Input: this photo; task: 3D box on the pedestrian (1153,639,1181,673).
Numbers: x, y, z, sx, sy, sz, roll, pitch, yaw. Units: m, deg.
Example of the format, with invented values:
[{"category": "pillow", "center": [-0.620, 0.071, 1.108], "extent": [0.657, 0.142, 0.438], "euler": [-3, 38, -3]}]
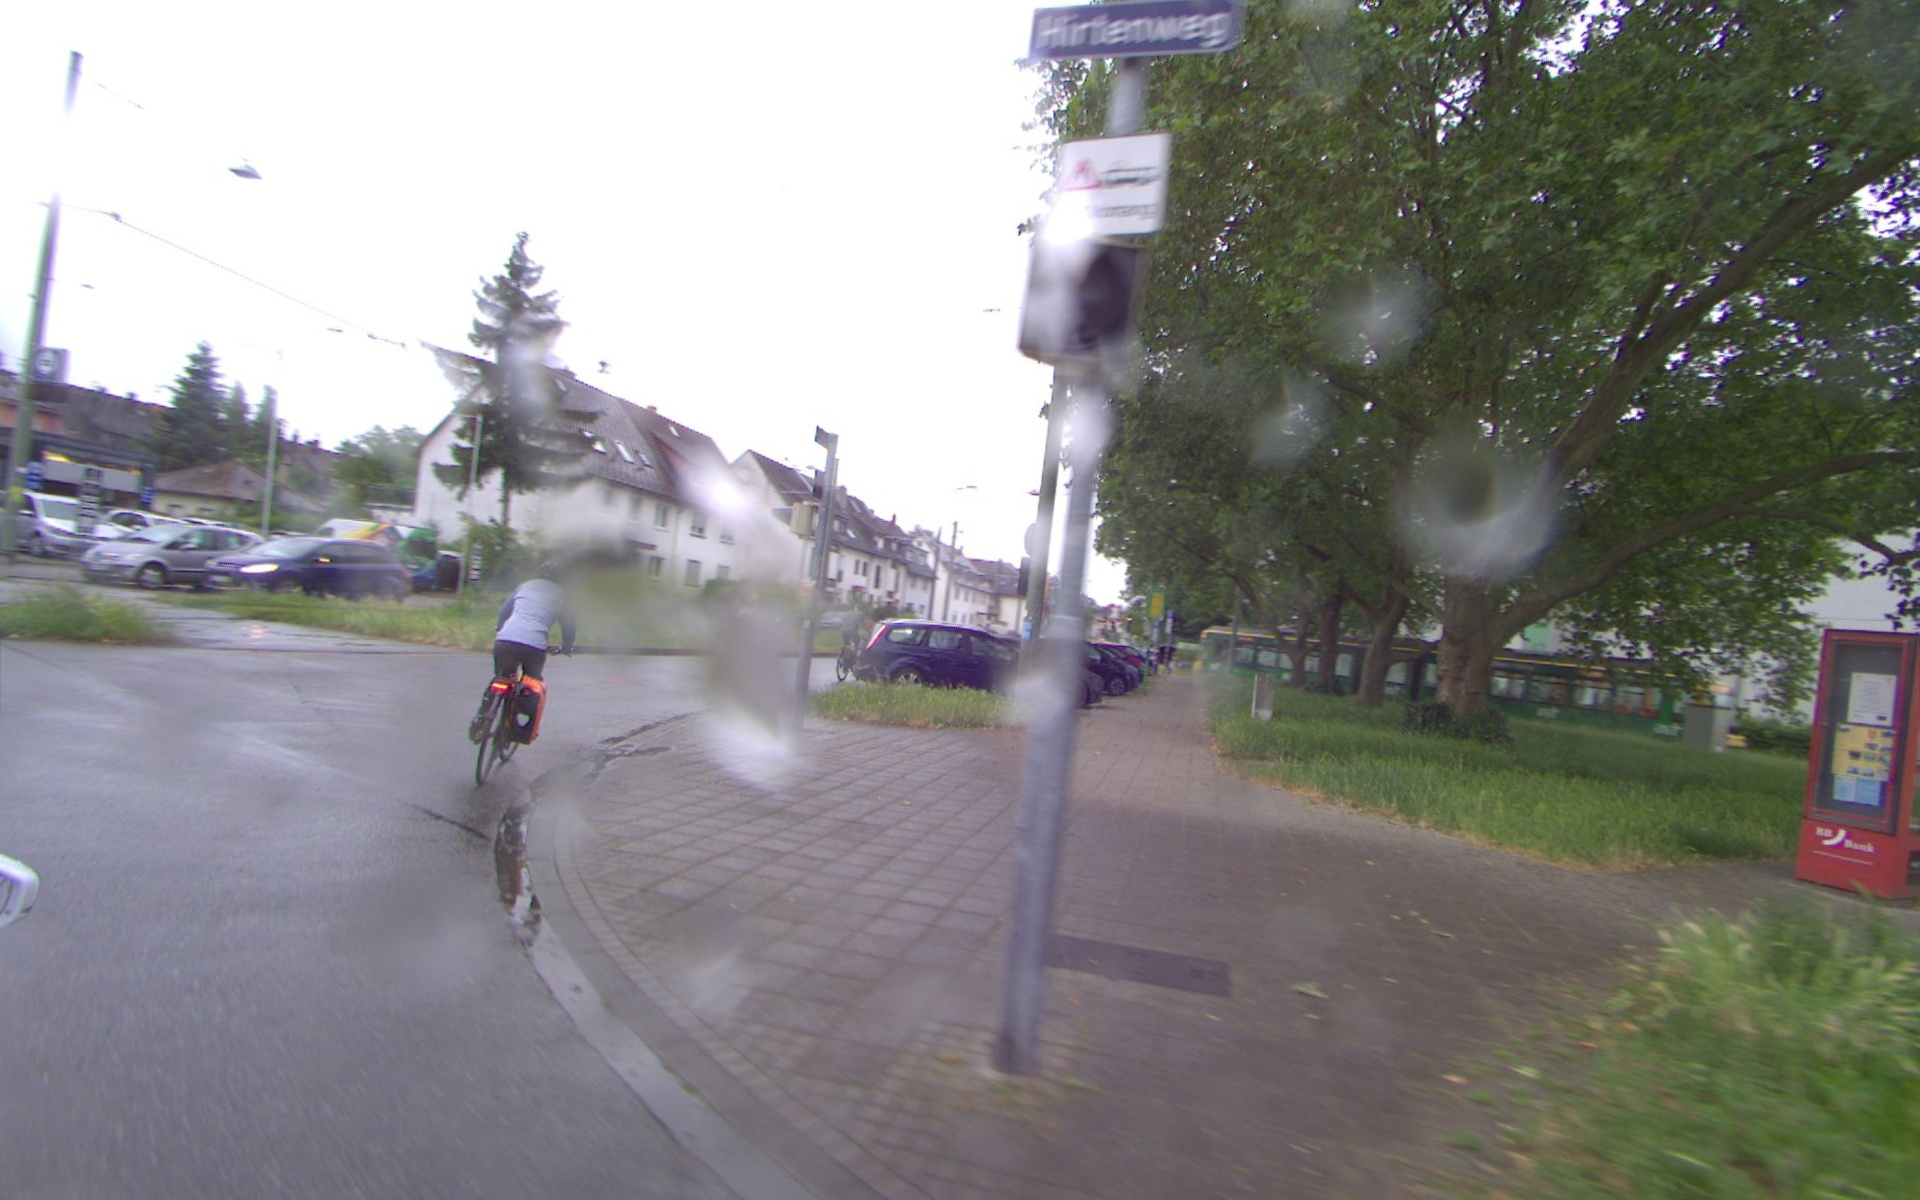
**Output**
[{"category": "pedestrian", "center": [11.425, 3.104, 55.653], "extent": [1.030, 1.735, 1.078], "euler": [6, -1, -11]}]

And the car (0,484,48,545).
[{"category": "car", "center": [-30.339, -2.801, 29.819], "extent": [1.962, 1.707, 4.450], "euler": [6, -1, 16]}]

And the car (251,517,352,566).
[{"category": "car", "center": [-28.543, -2.488, 43.790], "extent": [1.833, 1.599, 4.396], "euler": [6, -1, -7]}]

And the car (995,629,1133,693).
[{"category": "car", "center": [2.985, 1.753, 29.007], "extent": [3.468, 1.523, 1.747], "euler": [6, -2, -22]}]

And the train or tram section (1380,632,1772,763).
[{"category": "train or tram section", "center": [25.415, 3.818, 43.286], "extent": [2.686, 3.630, 14.629], "euler": [9, -2, -29]}]

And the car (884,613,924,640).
[{"category": "car", "center": [-3.893, 1.891, 70.778], "extent": [1.575, 1.439, 3.827], "euler": [7, -3, 15]}]

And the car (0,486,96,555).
[{"category": "car", "center": [-28.139, -2.457, 29.085], "extent": [1.727, 1.707, 4.450], "euler": [6, -1, 16]}]

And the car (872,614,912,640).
[{"category": "car", "center": [-5.239, 2.140, 78.105], "extent": [1.847, 1.519, 4.141], "euler": [7, -3, 14]}]

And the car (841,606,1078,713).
[{"category": "car", "center": [-0.044, 1.140, 19.453], "extent": [4.114, 1.494, 1.798], "euler": [7, -1, -16]}]

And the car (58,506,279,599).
[{"category": "car", "center": [-18.403, -1.044, 23.617], "extent": [1.690, 1.520, 3.650], "euler": [7, -3, 16]}]

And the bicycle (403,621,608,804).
[{"category": "bicycle", "center": [-3.332, 0.767, 7.597], "extent": [0.742, 1.086, 1.925], "euler": [6, 0, -6]}]

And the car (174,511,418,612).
[{"category": "car", "center": [-15.399, -0.809, 23.712], "extent": [1.962, 1.623, 4.582], "euler": [7, -3, 12]}]

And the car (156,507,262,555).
[{"category": "car", "center": [-33.638, -3.067, 45.230], "extent": [1.763, 1.599, 4.443], "euler": [6, -1, -7]}]

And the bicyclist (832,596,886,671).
[{"category": "bicyclist", "center": [-2.288, 0.777, 22.854], "extent": [0.817, 1.576, 0.915], "euler": [6, -1, 11]}]

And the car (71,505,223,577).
[{"category": "car", "center": [-24.415, -1.757, 30.251], "extent": [3.549, 1.590, 1.726], "euler": [7, -3, 17]}]

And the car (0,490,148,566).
[{"category": "car", "center": [-24.288, -1.970, 27.071], "extent": [3.798, 1.598, 1.808], "euler": [7, 0, 15]}]

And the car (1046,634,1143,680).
[{"category": "car", "center": [5.506, 2.334, 41.371], "extent": [3.539, 1.498, 1.634], "euler": [6, -1, -12]}]

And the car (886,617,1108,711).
[{"category": "car", "center": [0.797, 1.414, 22.392], "extent": [4.479, 1.494, 1.799], "euler": [7, -1, -15]}]

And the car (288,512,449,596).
[{"category": "car", "center": [-22.815, -1.761, 38.871], "extent": [5.051, 2.432, 2.156], "euler": [7, -3, 14]}]

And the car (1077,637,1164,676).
[{"category": "car", "center": [8.410, 2.951, 52.873], "extent": [3.940, 1.502, 1.992], "euler": [7, 0, -18]}]

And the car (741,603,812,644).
[{"category": "car", "center": [-8.882, 1.170, 49.054], "extent": [1.709, 1.502, 4.007], "euler": [7, -3, 15]}]

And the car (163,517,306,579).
[{"category": "car", "center": [-23.553, -1.680, 32.681], "extent": [3.769, 1.411, 1.726], "euler": [7, -3, 17]}]

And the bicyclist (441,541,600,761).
[{"category": "bicyclist", "center": [-3.295, 0.370, 7.624], "extent": [0.740, 1.504, 0.845], "euler": [6, 1, -6]}]

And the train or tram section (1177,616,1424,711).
[{"category": "train or tram section", "center": [18.292, 3.260, 56.044], "extent": [2.686, 3.630, 14.629], "euler": [9, -2, -29]}]

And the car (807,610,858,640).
[{"category": "car", "center": [-8.196, 1.639, 65.217], "extent": [1.575, 1.439, 4.675], "euler": [7, -3, 14]}]

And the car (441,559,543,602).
[{"category": "car", "center": [-20.400, -0.825, 44.020], "extent": [1.962, 1.585, 3.892], "euler": [7, 2, 13]}]

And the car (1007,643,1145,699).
[{"category": "car", "center": [3.720, 2.267, 32.216], "extent": [3.944, 1.519, 1.816], "euler": [5, -2, -23]}]

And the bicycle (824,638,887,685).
[{"category": "bicycle", "center": [-2.351, 1.400, 22.915], "extent": [0.808, 0.923, 1.988], "euler": [6, -2, 11]}]

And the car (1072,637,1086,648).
[{"category": "car", "center": [23.204, 8.314, 196.589], "extent": [1.962, 1.560, 4.007], "euler": [7, -3, 15]}]

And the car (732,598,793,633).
[{"category": "car", "center": [-10.729, 0.860, 54.923], "extent": [1.575, 1.439, 3.951], "euler": [7, -3, 14]}]

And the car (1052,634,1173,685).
[{"category": "car", "center": [5.815, 2.279, 38.488], "extent": [4.061, 1.498, 1.860], "euler": [6, -1, -18]}]
